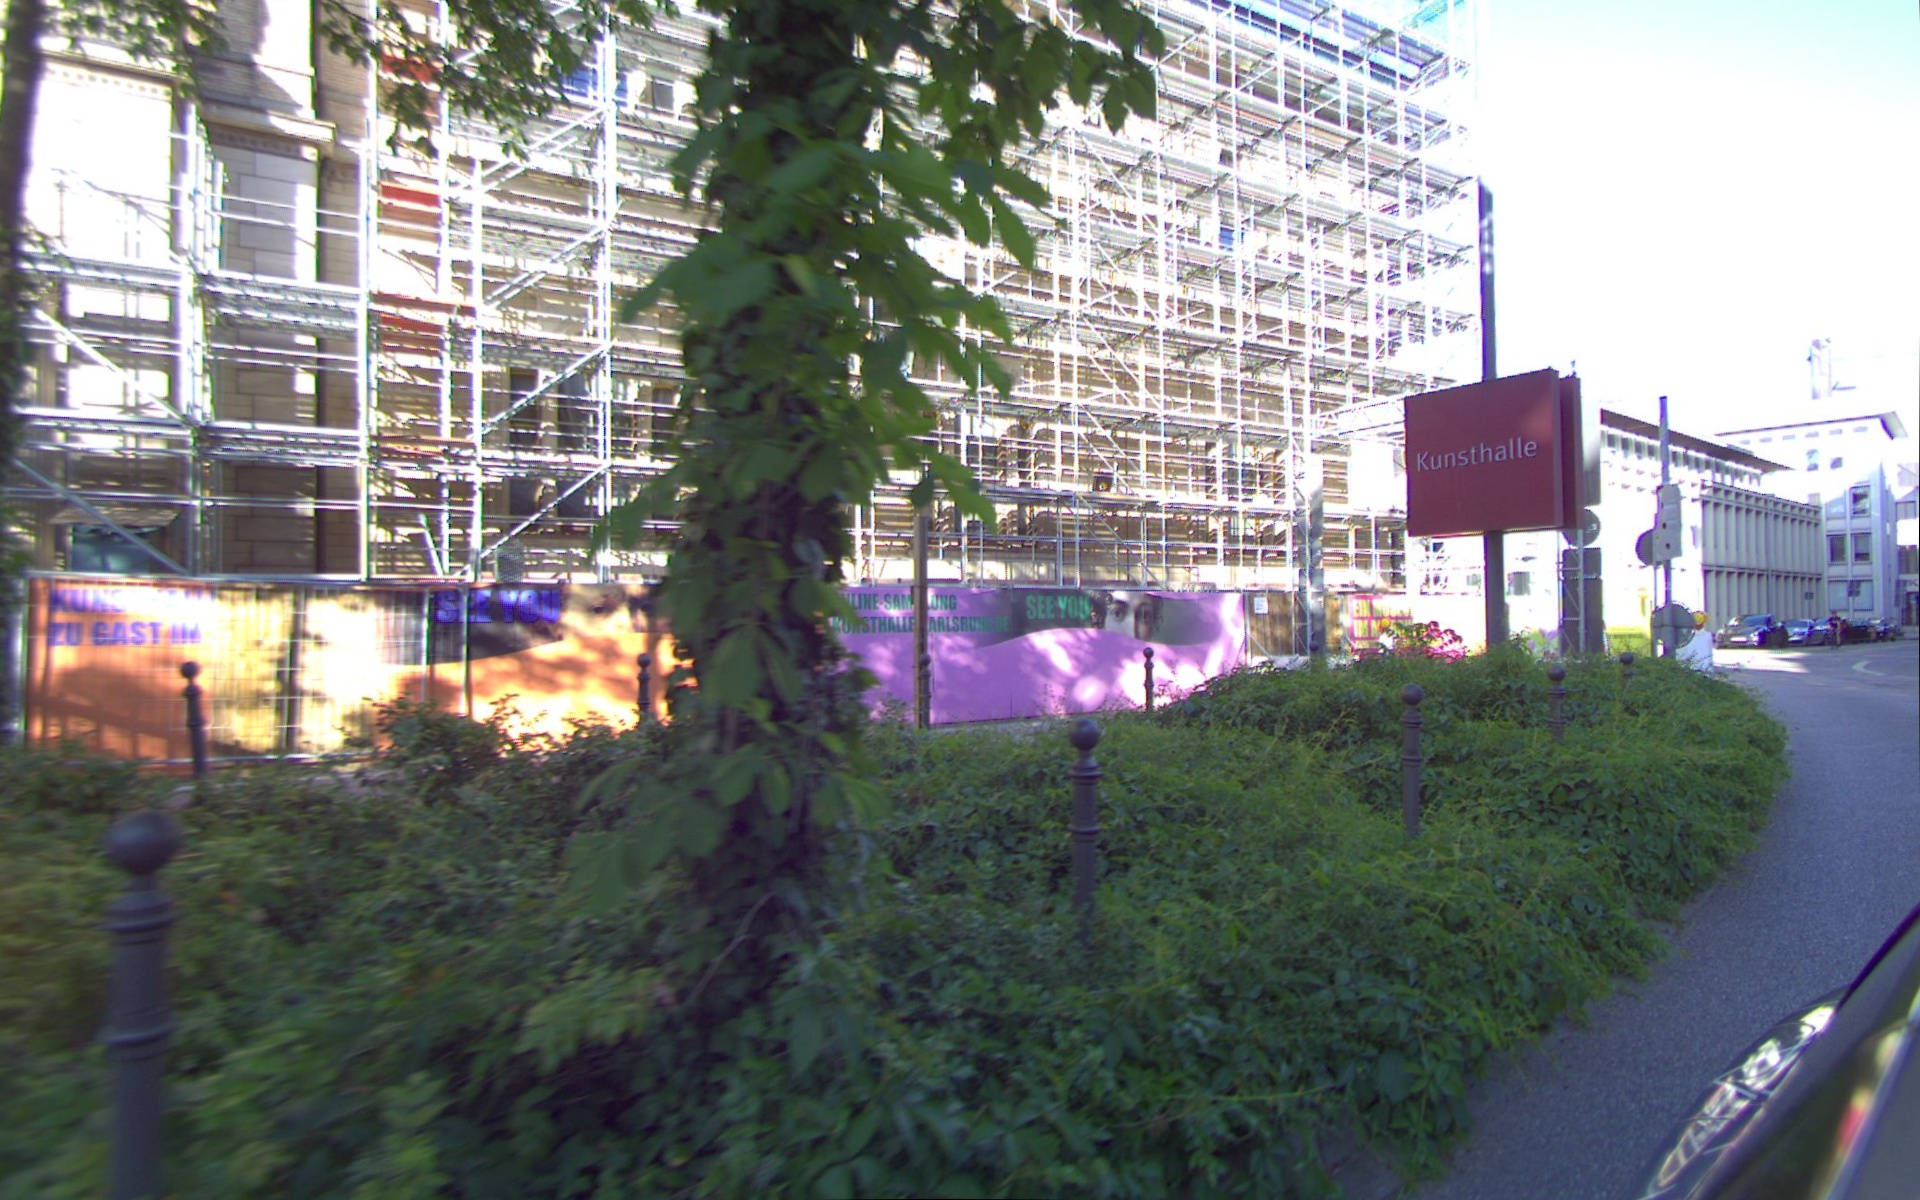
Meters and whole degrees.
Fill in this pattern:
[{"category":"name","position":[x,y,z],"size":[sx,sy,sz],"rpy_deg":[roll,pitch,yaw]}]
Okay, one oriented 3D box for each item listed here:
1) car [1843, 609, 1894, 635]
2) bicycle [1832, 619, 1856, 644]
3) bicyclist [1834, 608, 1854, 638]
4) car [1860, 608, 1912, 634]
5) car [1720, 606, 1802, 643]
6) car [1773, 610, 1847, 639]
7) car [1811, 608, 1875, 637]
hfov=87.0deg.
[{"category":"car","position":[52.201,1.277,58.132],"size":[3.817,1.418,1.630],"rpy_deg":[0,-2,-40]},{"category":"bicycle","position":[39.254,1.375,44.944],"size":[1.400,1.080,0.534],"rpy_deg":[0,-2,-40]},{"category":"bicyclist","position":[39.279,1.030,44.986],"size":[0.541,1.305,0.537],"rpy_deg":[1,-3,-39]},{"category":"car","position":[56.282,1.286,61.470],"size":[4.178,1.511,1.697],"rpy_deg":[0,-2,-39]},{"category":"car","position":[37.304,1.120,47.102],"size":[4.536,1.645,1.898],"rpy_deg":[0,-2,-37]},{"category":"car","position":[43.016,1.242,51.168],"size":[4.510,1.362,1.702],"rpy_deg":[0,-2,-35]},{"category":"car","position":[47.551,1.207,54.470],"size":[4.703,1.489,1.701],"rpy_deg":[0,-2,-38]}]
